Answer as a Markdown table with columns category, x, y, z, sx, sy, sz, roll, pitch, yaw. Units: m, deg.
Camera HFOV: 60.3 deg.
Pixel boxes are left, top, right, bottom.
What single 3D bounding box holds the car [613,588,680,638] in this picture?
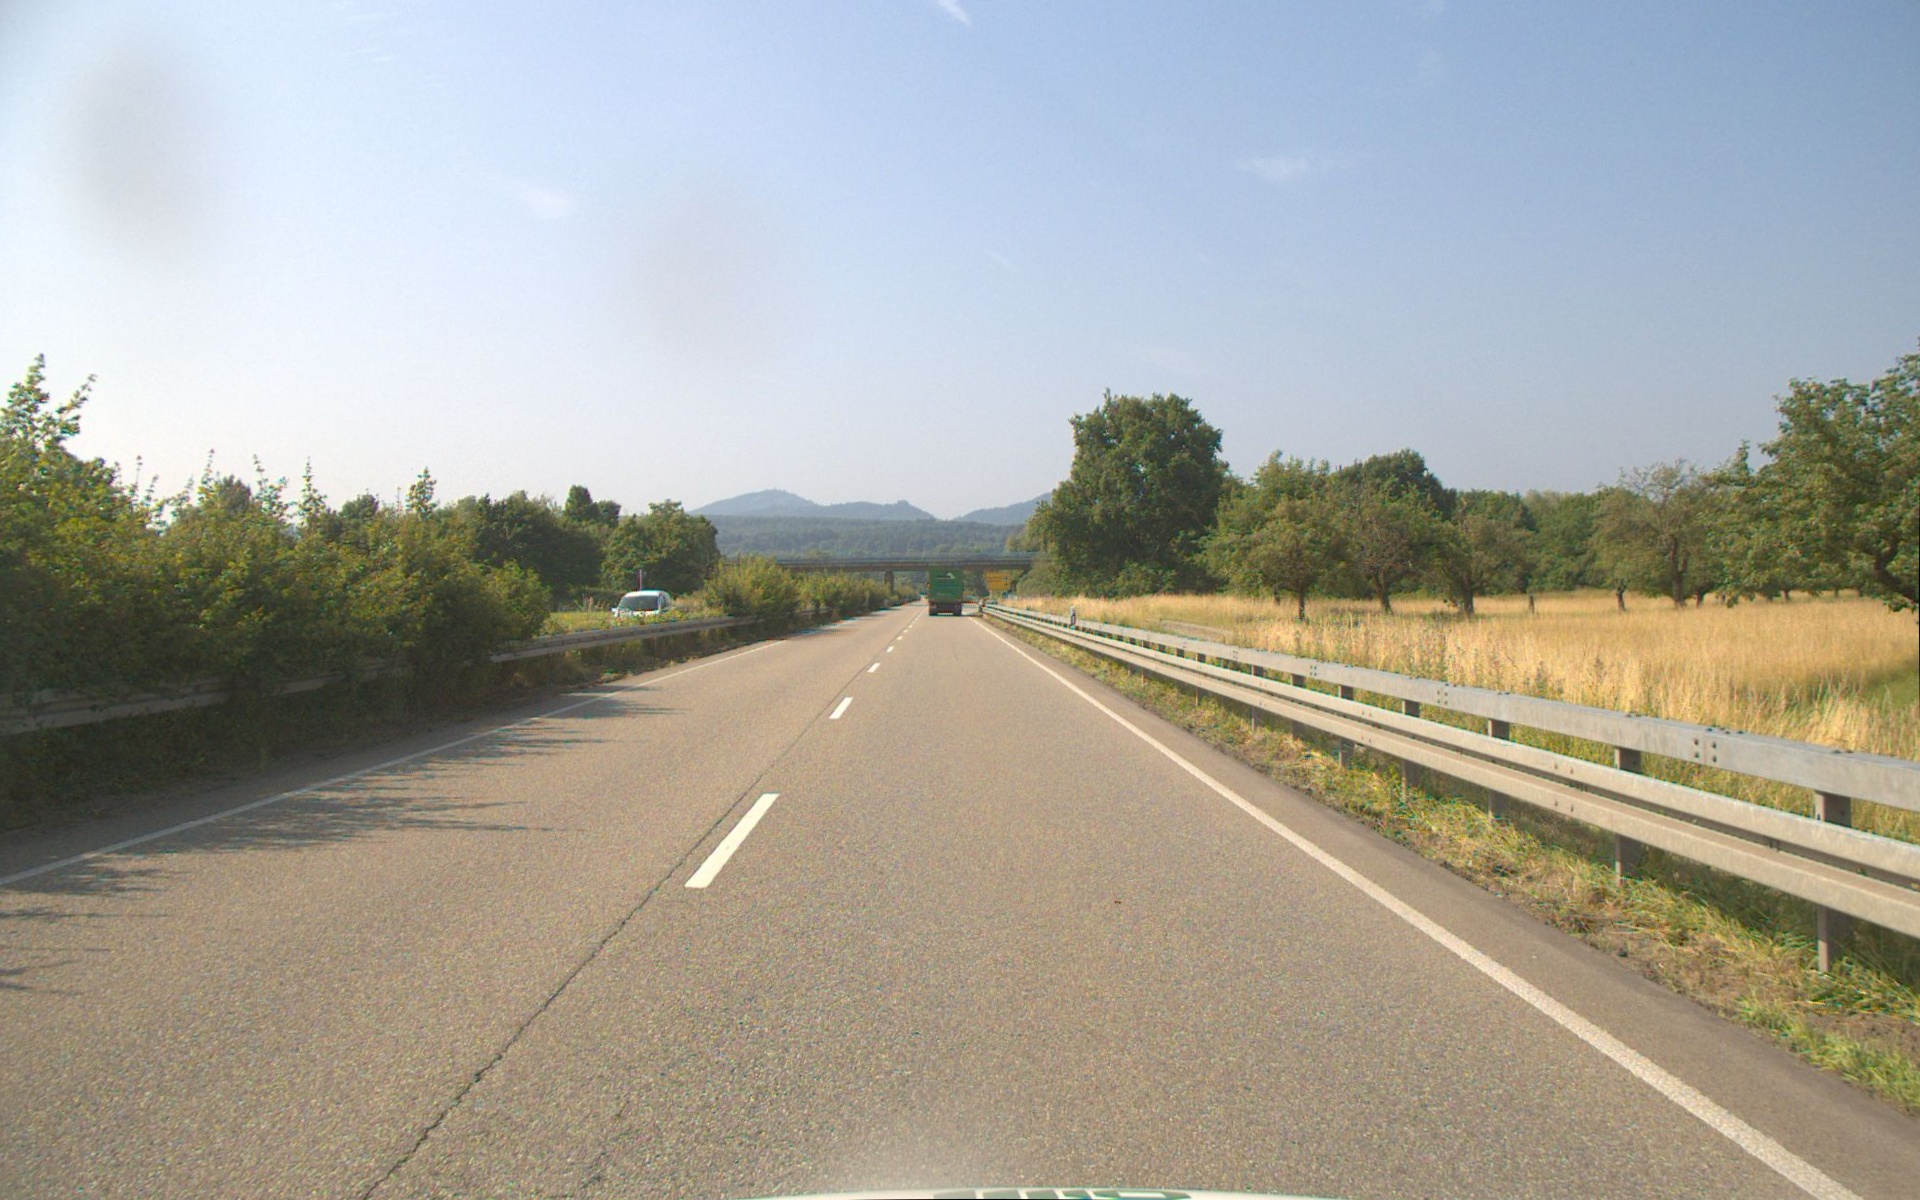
| category | x | y | z | sx | sy | sz | roll | pitch | yaw |
| --- | --- | --- | --- | --- | --- | --- | --- | --- | --- |
| car | -10.930 | 0.419 | 57.856 | 1.626 | 1.670 | 3.999 | 0 | 0 | -1 |

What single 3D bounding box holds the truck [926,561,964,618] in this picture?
| category | x | y | z | sx | sy | sz | roll | pitch | yaw |
| --- | --- | --- | --- | --- | --- | --- | --- | --- | --- |
| truck | -1.104 | -0.859 | 124.919 | 2.666 | 4.034 | 10.416 | 1 | 1 | 0 |
